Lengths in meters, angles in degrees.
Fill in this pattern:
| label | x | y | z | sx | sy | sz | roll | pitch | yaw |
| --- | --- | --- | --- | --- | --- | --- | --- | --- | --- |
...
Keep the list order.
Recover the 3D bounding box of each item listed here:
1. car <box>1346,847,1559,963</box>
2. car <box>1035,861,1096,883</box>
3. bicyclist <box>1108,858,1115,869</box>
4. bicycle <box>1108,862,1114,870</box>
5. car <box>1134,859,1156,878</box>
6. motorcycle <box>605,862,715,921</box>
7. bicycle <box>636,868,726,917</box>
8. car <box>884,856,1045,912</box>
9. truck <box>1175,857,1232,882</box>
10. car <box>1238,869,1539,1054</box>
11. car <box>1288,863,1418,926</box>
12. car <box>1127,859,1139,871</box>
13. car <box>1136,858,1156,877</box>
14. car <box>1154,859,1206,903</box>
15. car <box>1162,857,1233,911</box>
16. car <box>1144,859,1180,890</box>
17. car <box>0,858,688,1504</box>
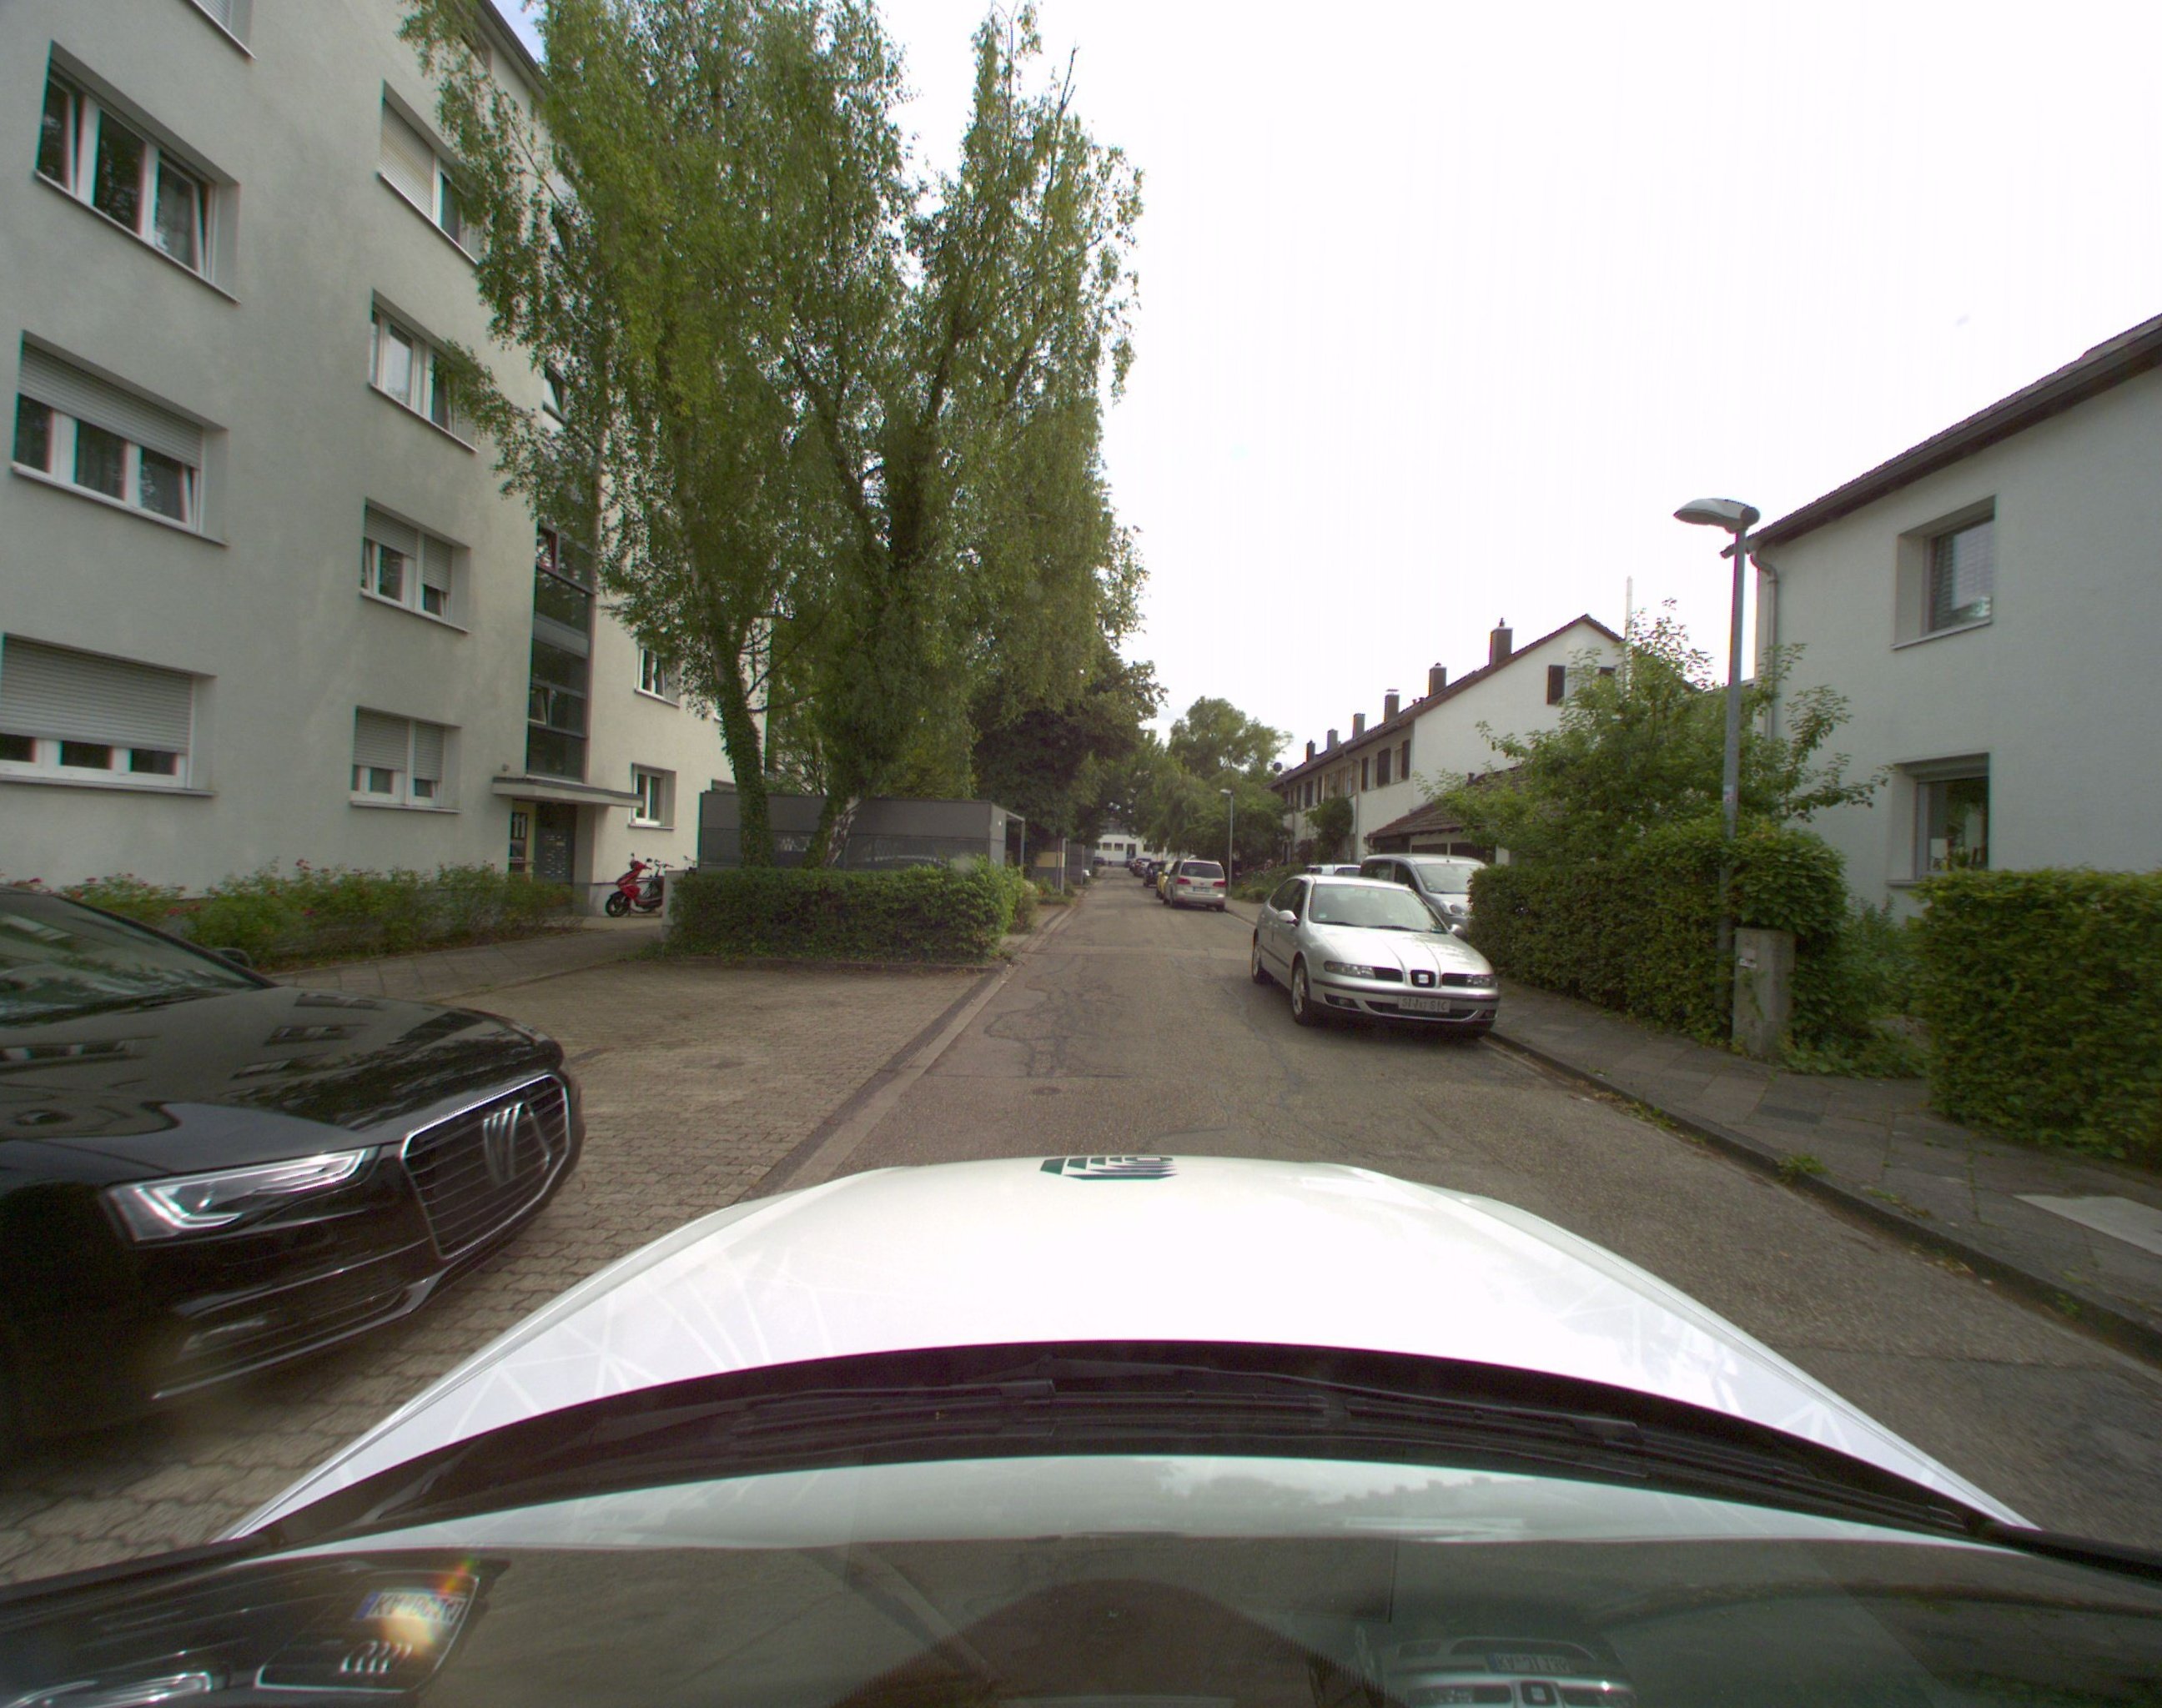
| label | x | y | z | sx | sy | sz | roll | pitch | yaw |
| --- | --- | --- | --- | --- | --- | --- | --- | --- | --- |
| car | 6.476 | 0.823 | 14.816 | 1.820 | 1.777 | 4.338 | -1 | -1 | -1 |
| car | -1.028 | 1.238 | 55.753 | 4.016 | 1.394 | 1.738 | 1 | -1 | 1 |
| bicyclist | 4.200 | 1.362 | 112.985 | 0.795 | 1.511 | 0.935 | 4 | -1 | 5 |
| bicycle | 4.188 | 1.673 | 112.932 | 0.685 | 1.131 | 2.582 | 4 | -1 | 5 |
| car | 5.710 | 1.283 | 72.834 | 1.817 | 1.581 | 4.003 | 4 | 0 | 3 |
| motorcycle | -8.471 | 0.748 | 16.416 | 1.906 | 1.123 | 0.670 | 1 | -1 | -32 |
| bicycle | -8.539 | 0.811 | 17.431 | 1.671 | 1.004 | 0.572 | 1 | -1 | -27 |
| car | -3.348 | 0.858 | 24.004 | 4.395 | 1.502 | 1.842 | 1 | -1 | 2 |
| truck | 9.866 | 1.236 | 65.761 | 4.373 | 2.014 | 2.001 | 0 | -1 | 1 |
| car | 2.976 | 0.932 | 8.959 | 1.817 | 1.370 | 4.334 | 4 | 0 | 3 |
| car | 7.020 | 1.021 | 21.194 | 2.807 | 1.569 | 1.740 | 0 | -1 | 0 |
| car | 7.969 | 1.674 | 125.302 | 1.817 | 1.581 | 4.003 | 4 | 0 | 3 |
| car | 6.691 | 1.389 | 84.454 | 1.817 | 1.883 | 4.003 | 4 | 0 | 3 |
| car | 4.076 | 1.082 | 34.044 | 1.817 | 1.581 | 4.003 | 4 | 0 | 3 |
| car | 3.843 | 0.960 | 27.507 | 1.818 | 1.581 | 4.001 | 4 | 0 | 1 |
| car | 4.701 | 1.155 | 47.631 | 1.817 | 1.581 | 4.196 | 4 | 0 | 3 |
| car | -3.950 | 0.721 | 2.674 | 4.314 | 1.376 | 1.921 | 1 | -1 | -4 |
